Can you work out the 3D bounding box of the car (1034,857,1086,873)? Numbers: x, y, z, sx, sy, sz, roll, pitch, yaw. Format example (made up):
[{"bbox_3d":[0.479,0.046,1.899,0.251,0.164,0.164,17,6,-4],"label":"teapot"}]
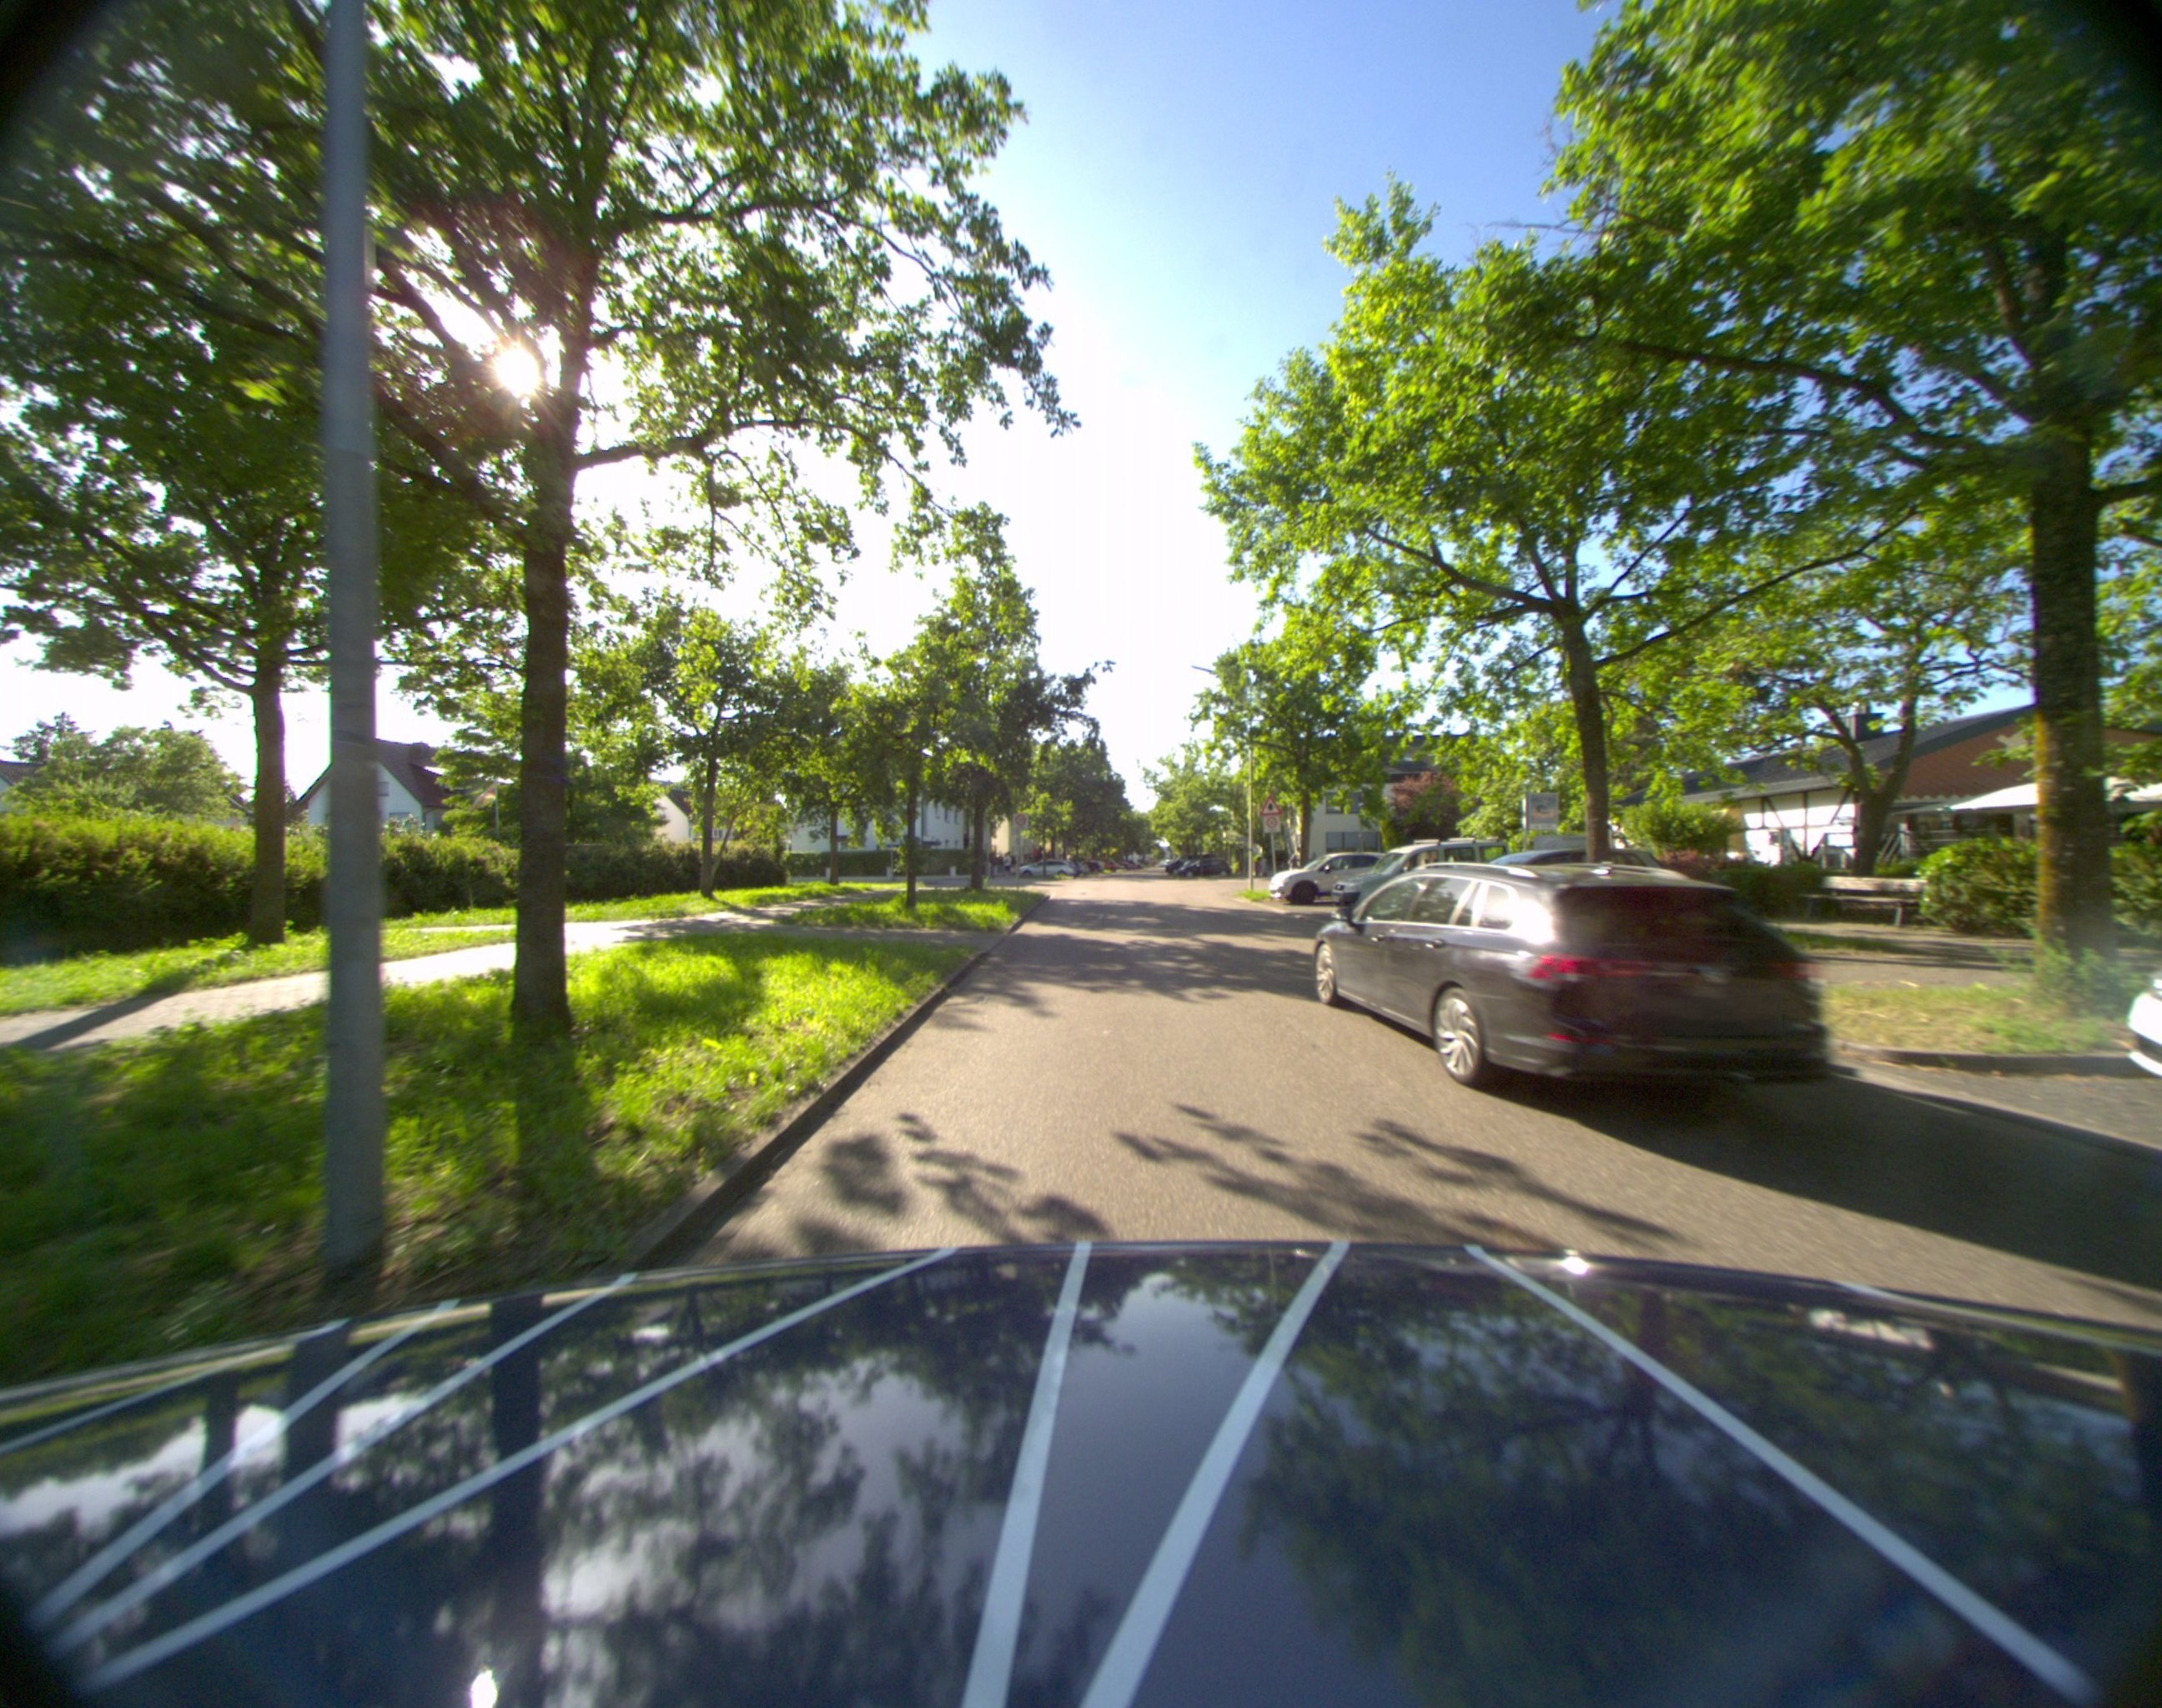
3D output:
[{"bbox_3d":[-1.874,0.985,68.371,4.511,1.470,1.941,0,0,2],"label":"car"}]

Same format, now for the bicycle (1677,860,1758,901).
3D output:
[{"bbox_3d":[17.798,0.718,21.311,0.641,1.081,1.882,0,0,-3],"label":"bicycle"}]

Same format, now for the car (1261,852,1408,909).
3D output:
[{"bbox_3d":[8.009,0.818,24.313,4.072,1.633,1.876,-2,0,2],"label":"car"}]

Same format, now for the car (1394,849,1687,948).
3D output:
[{"bbox_3d":[8.153,0.767,13.790,4.146,1.547,1.866,-2,0,2],"label":"car"}]

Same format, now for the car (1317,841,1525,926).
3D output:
[{"bbox_3d":[8.335,0.696,18.922,4.238,1.872,1.998,-2,0,0],"label":"car"}]

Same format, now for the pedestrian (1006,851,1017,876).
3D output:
[{"bbox_3d":[-5.052,0.694,55.280,0.665,1.855,0.869,0,0,2],"label":"pedestrian"}]

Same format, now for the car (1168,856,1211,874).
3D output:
[{"bbox_3d":[10.335,1.039,72.878,4.034,1.767,1.942,0,0,6],"label":"car"}]

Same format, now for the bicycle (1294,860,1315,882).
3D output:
[{"bbox_3d":[12.020,0.901,40.877,0.640,1.081,1.891,0,2,4],"label":"bicycle"}]

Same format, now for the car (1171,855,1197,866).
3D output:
[{"bbox_3d":[16.184,0.972,119.575,4.034,1.767,1.942,0,0,6],"label":"car"}]

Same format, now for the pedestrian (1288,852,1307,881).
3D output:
[{"bbox_3d":[11.676,0.662,41.026,0.728,1.534,0.867,0,2,-2],"label":"pedestrian"}]

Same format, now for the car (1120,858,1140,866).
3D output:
[{"bbox_3d":[10.403,1.724,161.271,4.034,1.767,1.942,0,0,6],"label":"car"}]

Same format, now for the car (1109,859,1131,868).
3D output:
[{"bbox_3d":[7.279,1.798,142.384,4.034,1.767,1.942,0,0,6],"label":"car"}]

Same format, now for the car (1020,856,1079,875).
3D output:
[{"bbox_3d":[-2.433,0.860,59.716,4.511,1.470,1.941,0,0,2],"label":"car"}]

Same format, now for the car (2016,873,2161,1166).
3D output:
[{"bbox_3d":[8.029,0.844,3.634,4.423,1.547,2.088,-2,0,2],"label":"car"}]

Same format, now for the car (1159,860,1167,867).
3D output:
[{"bbox_3d":[21.363,2.361,197.060,1.939,1.767,4.041,0,0,7],"label":"car"}]

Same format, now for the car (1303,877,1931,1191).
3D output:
[{"bbox_3d":[3.231,0.937,5.871,1.688,1.394,4.427,0,0,-1],"label":"car"}]

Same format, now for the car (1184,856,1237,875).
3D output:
[{"bbox_3d":[10.413,0.921,61.371,4.035,1.470,1.941,0,0,2],"label":"car"}]

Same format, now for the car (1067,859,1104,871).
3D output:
[{"bbox_3d":[0.626,1.402,94.464,4.511,1.470,1.941,0,0,2],"label":"car"}]

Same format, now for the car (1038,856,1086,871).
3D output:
[{"bbox_3d":[-1.836,0.921,73.418,4.511,1.470,1.941,0,0,2],"label":"car"}]

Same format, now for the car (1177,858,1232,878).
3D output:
[{"bbox_3d":[9.402,1.049,58.109,4.034,1.470,1.942,0,0,6],"label":"car"}]

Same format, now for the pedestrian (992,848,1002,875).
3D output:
[{"bbox_3d":[-6.133,0.551,55.470,0.610,2.002,0.834,0,0,2],"label":"pedestrian"}]
